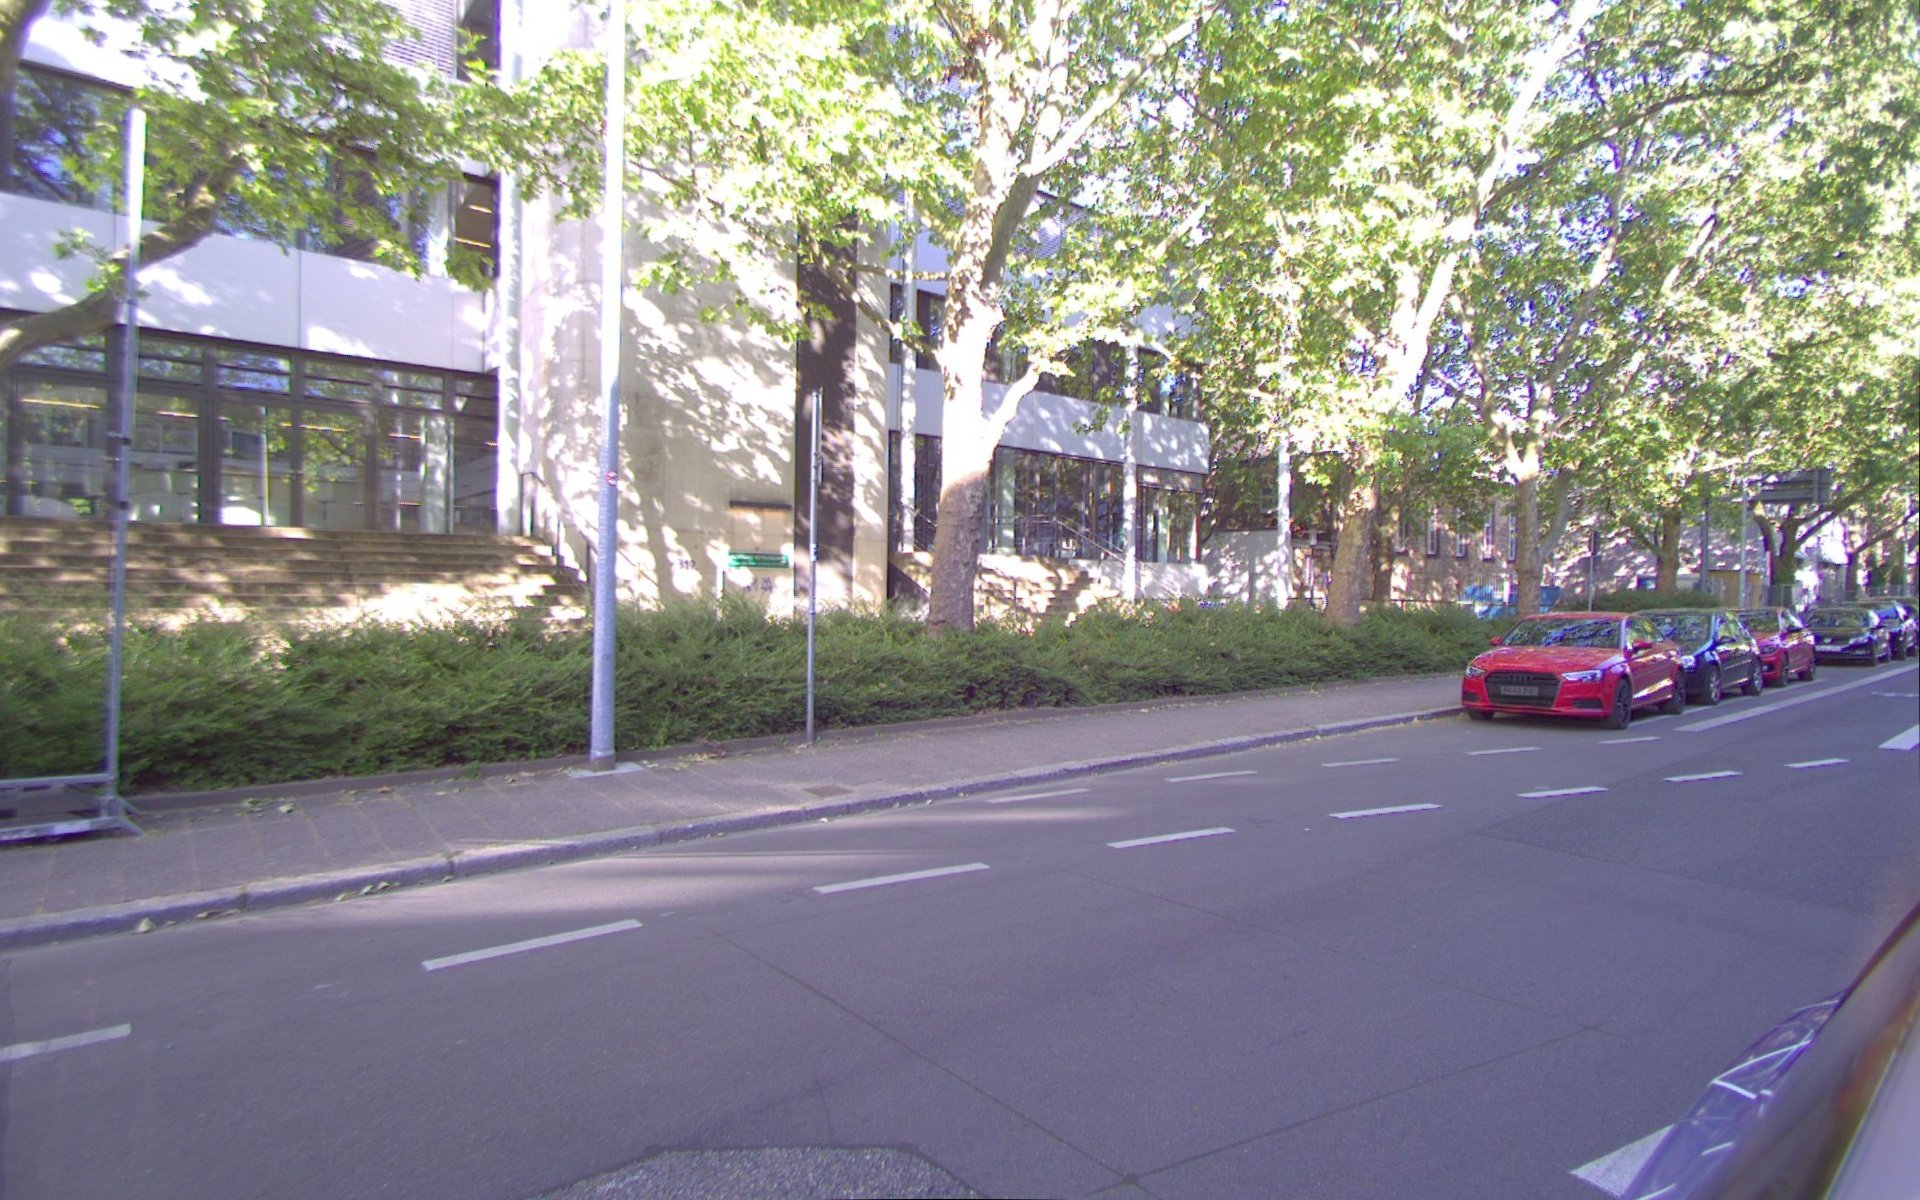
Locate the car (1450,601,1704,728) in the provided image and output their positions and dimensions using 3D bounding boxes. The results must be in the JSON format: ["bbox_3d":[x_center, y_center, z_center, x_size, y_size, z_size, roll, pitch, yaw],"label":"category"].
[{"bbox_3d":[8.271,0.745,13.448,3.930,1.427,1.753,0,-1,-41],"label":"car"}]

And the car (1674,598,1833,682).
[{"bbox_3d":[15.699,0.725,19.969,3.841,1.486,1.753,0,-1,-41],"label":"car"}]

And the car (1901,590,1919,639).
[{"bbox_3d":[36.191,0.522,37.267,4.370,1.750,1.753,0,-1,-41],"label":"car"}]

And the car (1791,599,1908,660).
[{"bbox_3d":[22.944,0.721,26.067,3.841,1.451,1.753,0,-1,-41],"label":"car"}]

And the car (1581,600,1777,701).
[{"bbox_3d":[11.847,0.743,16.592,3.841,1.451,1.753,0,-1,-41],"label":"car"}]

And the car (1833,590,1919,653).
[{"bbox_3d":[26.711,0.591,29.180,4.101,1.674,1.753,0,-1,-41],"label":"car"}]

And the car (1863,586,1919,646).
[{"bbox_3d":[30.968,0.492,32.971,4.370,1.844,1.753,0,-1,-41],"label":"car"}]
